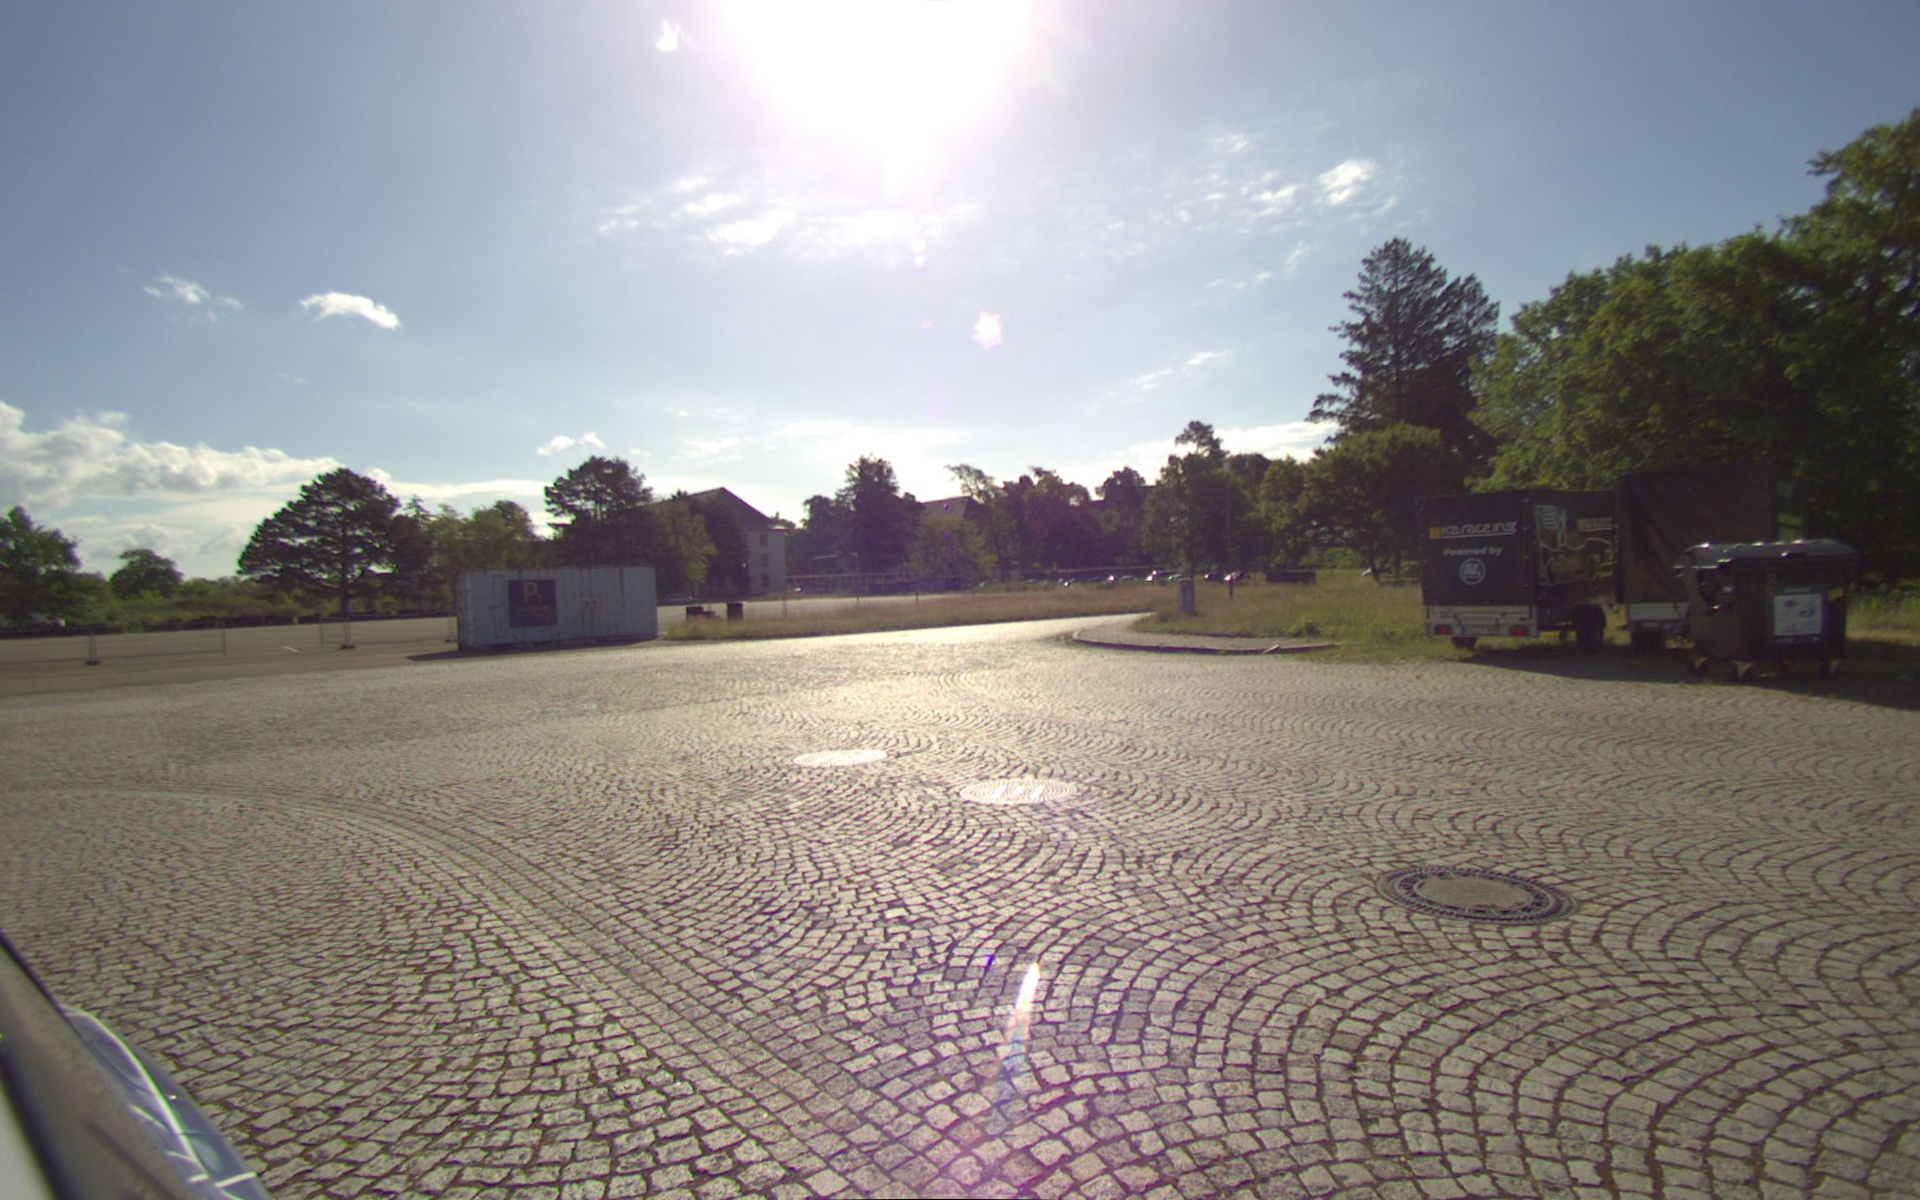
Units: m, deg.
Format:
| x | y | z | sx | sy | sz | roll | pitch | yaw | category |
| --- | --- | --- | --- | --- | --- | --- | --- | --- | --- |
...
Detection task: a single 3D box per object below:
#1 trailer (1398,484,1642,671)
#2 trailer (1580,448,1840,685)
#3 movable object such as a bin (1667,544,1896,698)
| x | y | z | sx | sy | sz | roll | pitch | yaw | category |
| --- | --- | --- | --- | --- | --- | --- | --- | --- | --- |
| 8.480 | -0.377 | 15.271 | 3.342 | 2.488 | 2.048 | -4 | 2 | -39 | trailer |
| 10.012 | -0.466 | 13.354 | 4.582 | 2.587 | 1.953 | -4 | 2 | -44 | trailer |
| 8.562 | 0.193 | 10.632 | 1.420 | 1.468 | 1.155 | -3 | 1 | 4 | movable object such as a bin |
